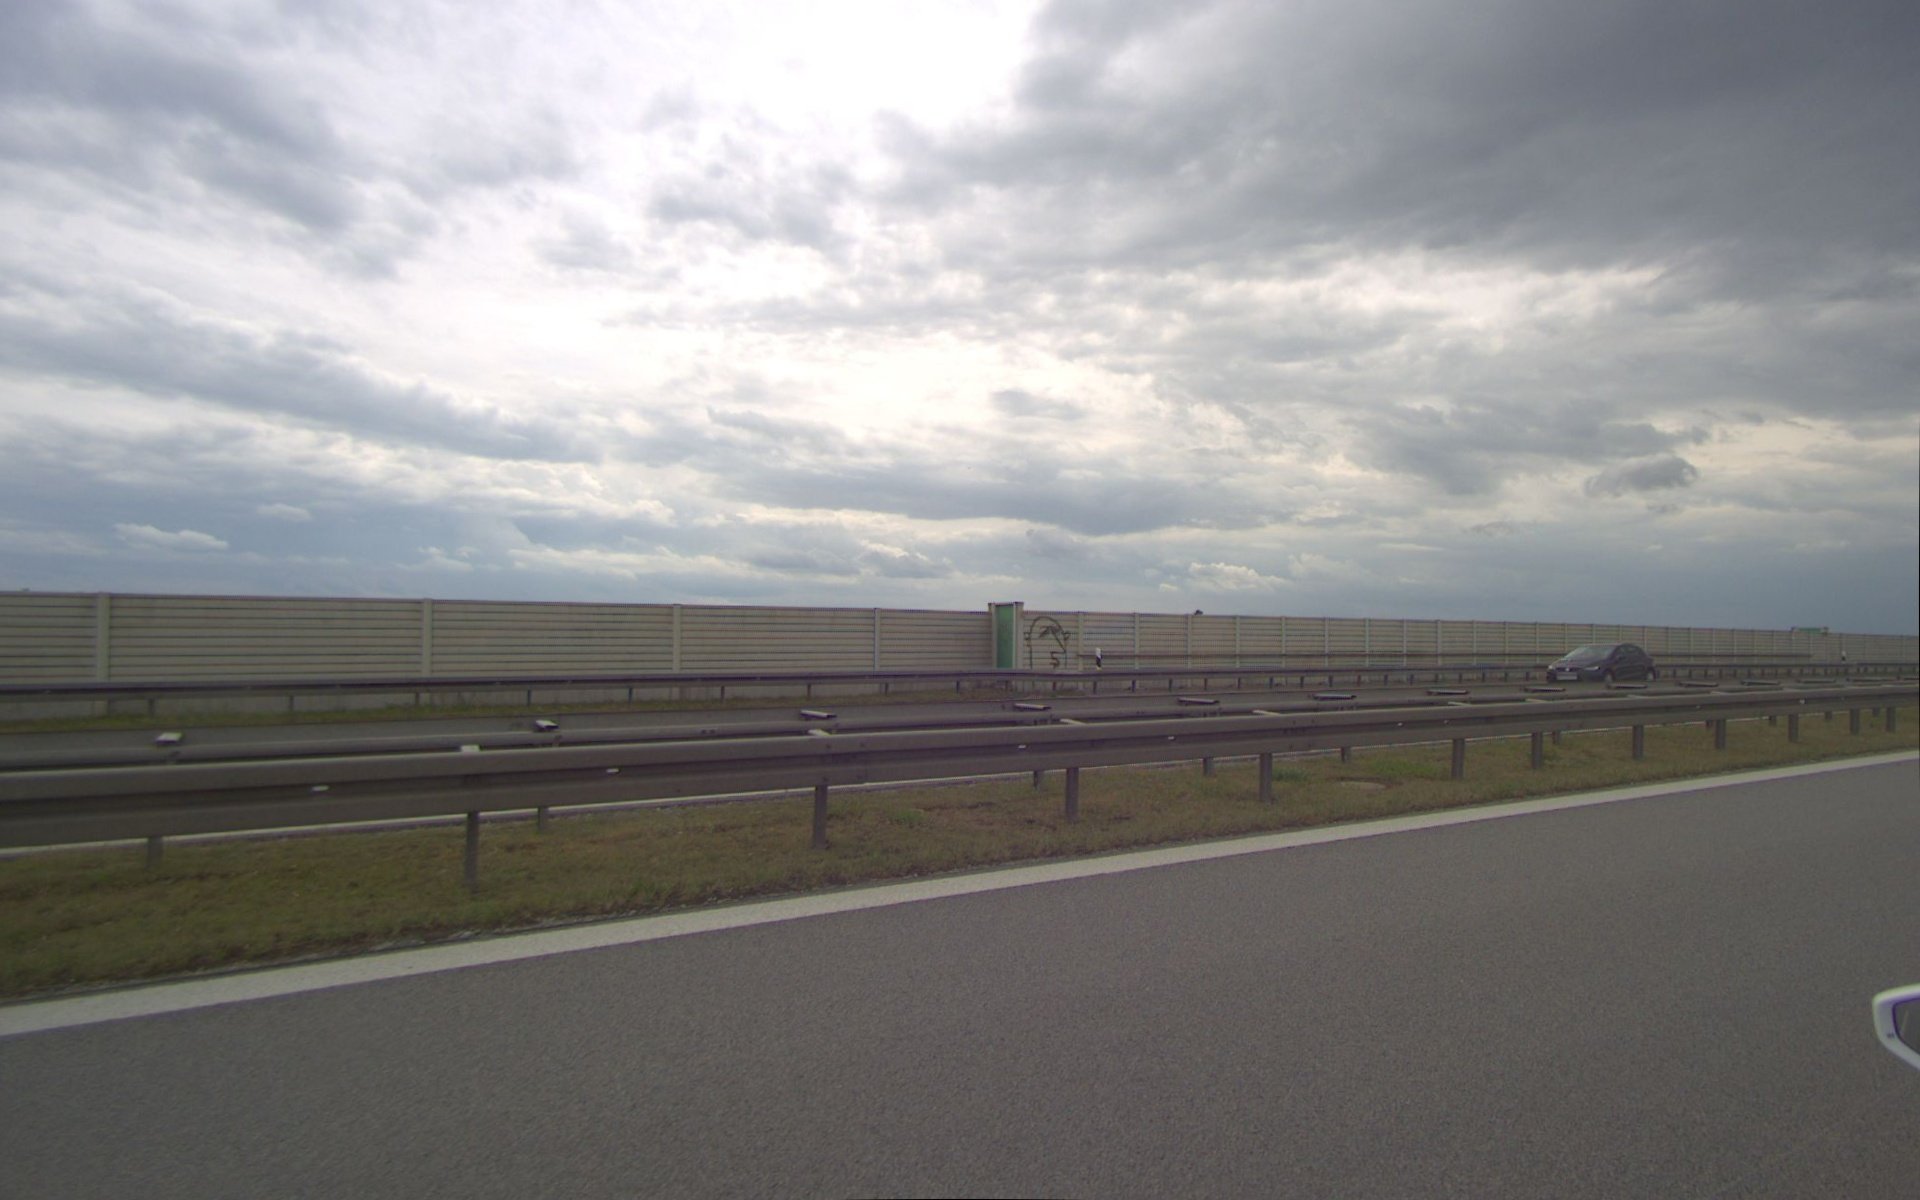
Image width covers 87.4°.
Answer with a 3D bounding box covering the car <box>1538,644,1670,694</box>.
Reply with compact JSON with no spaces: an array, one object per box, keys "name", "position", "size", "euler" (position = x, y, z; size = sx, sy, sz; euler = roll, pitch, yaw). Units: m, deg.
[{"name":"car","position":[20.642,2.166,32.139],"size":[4.513,1.514,1.696],"euler":[2,-3,-30]}]
